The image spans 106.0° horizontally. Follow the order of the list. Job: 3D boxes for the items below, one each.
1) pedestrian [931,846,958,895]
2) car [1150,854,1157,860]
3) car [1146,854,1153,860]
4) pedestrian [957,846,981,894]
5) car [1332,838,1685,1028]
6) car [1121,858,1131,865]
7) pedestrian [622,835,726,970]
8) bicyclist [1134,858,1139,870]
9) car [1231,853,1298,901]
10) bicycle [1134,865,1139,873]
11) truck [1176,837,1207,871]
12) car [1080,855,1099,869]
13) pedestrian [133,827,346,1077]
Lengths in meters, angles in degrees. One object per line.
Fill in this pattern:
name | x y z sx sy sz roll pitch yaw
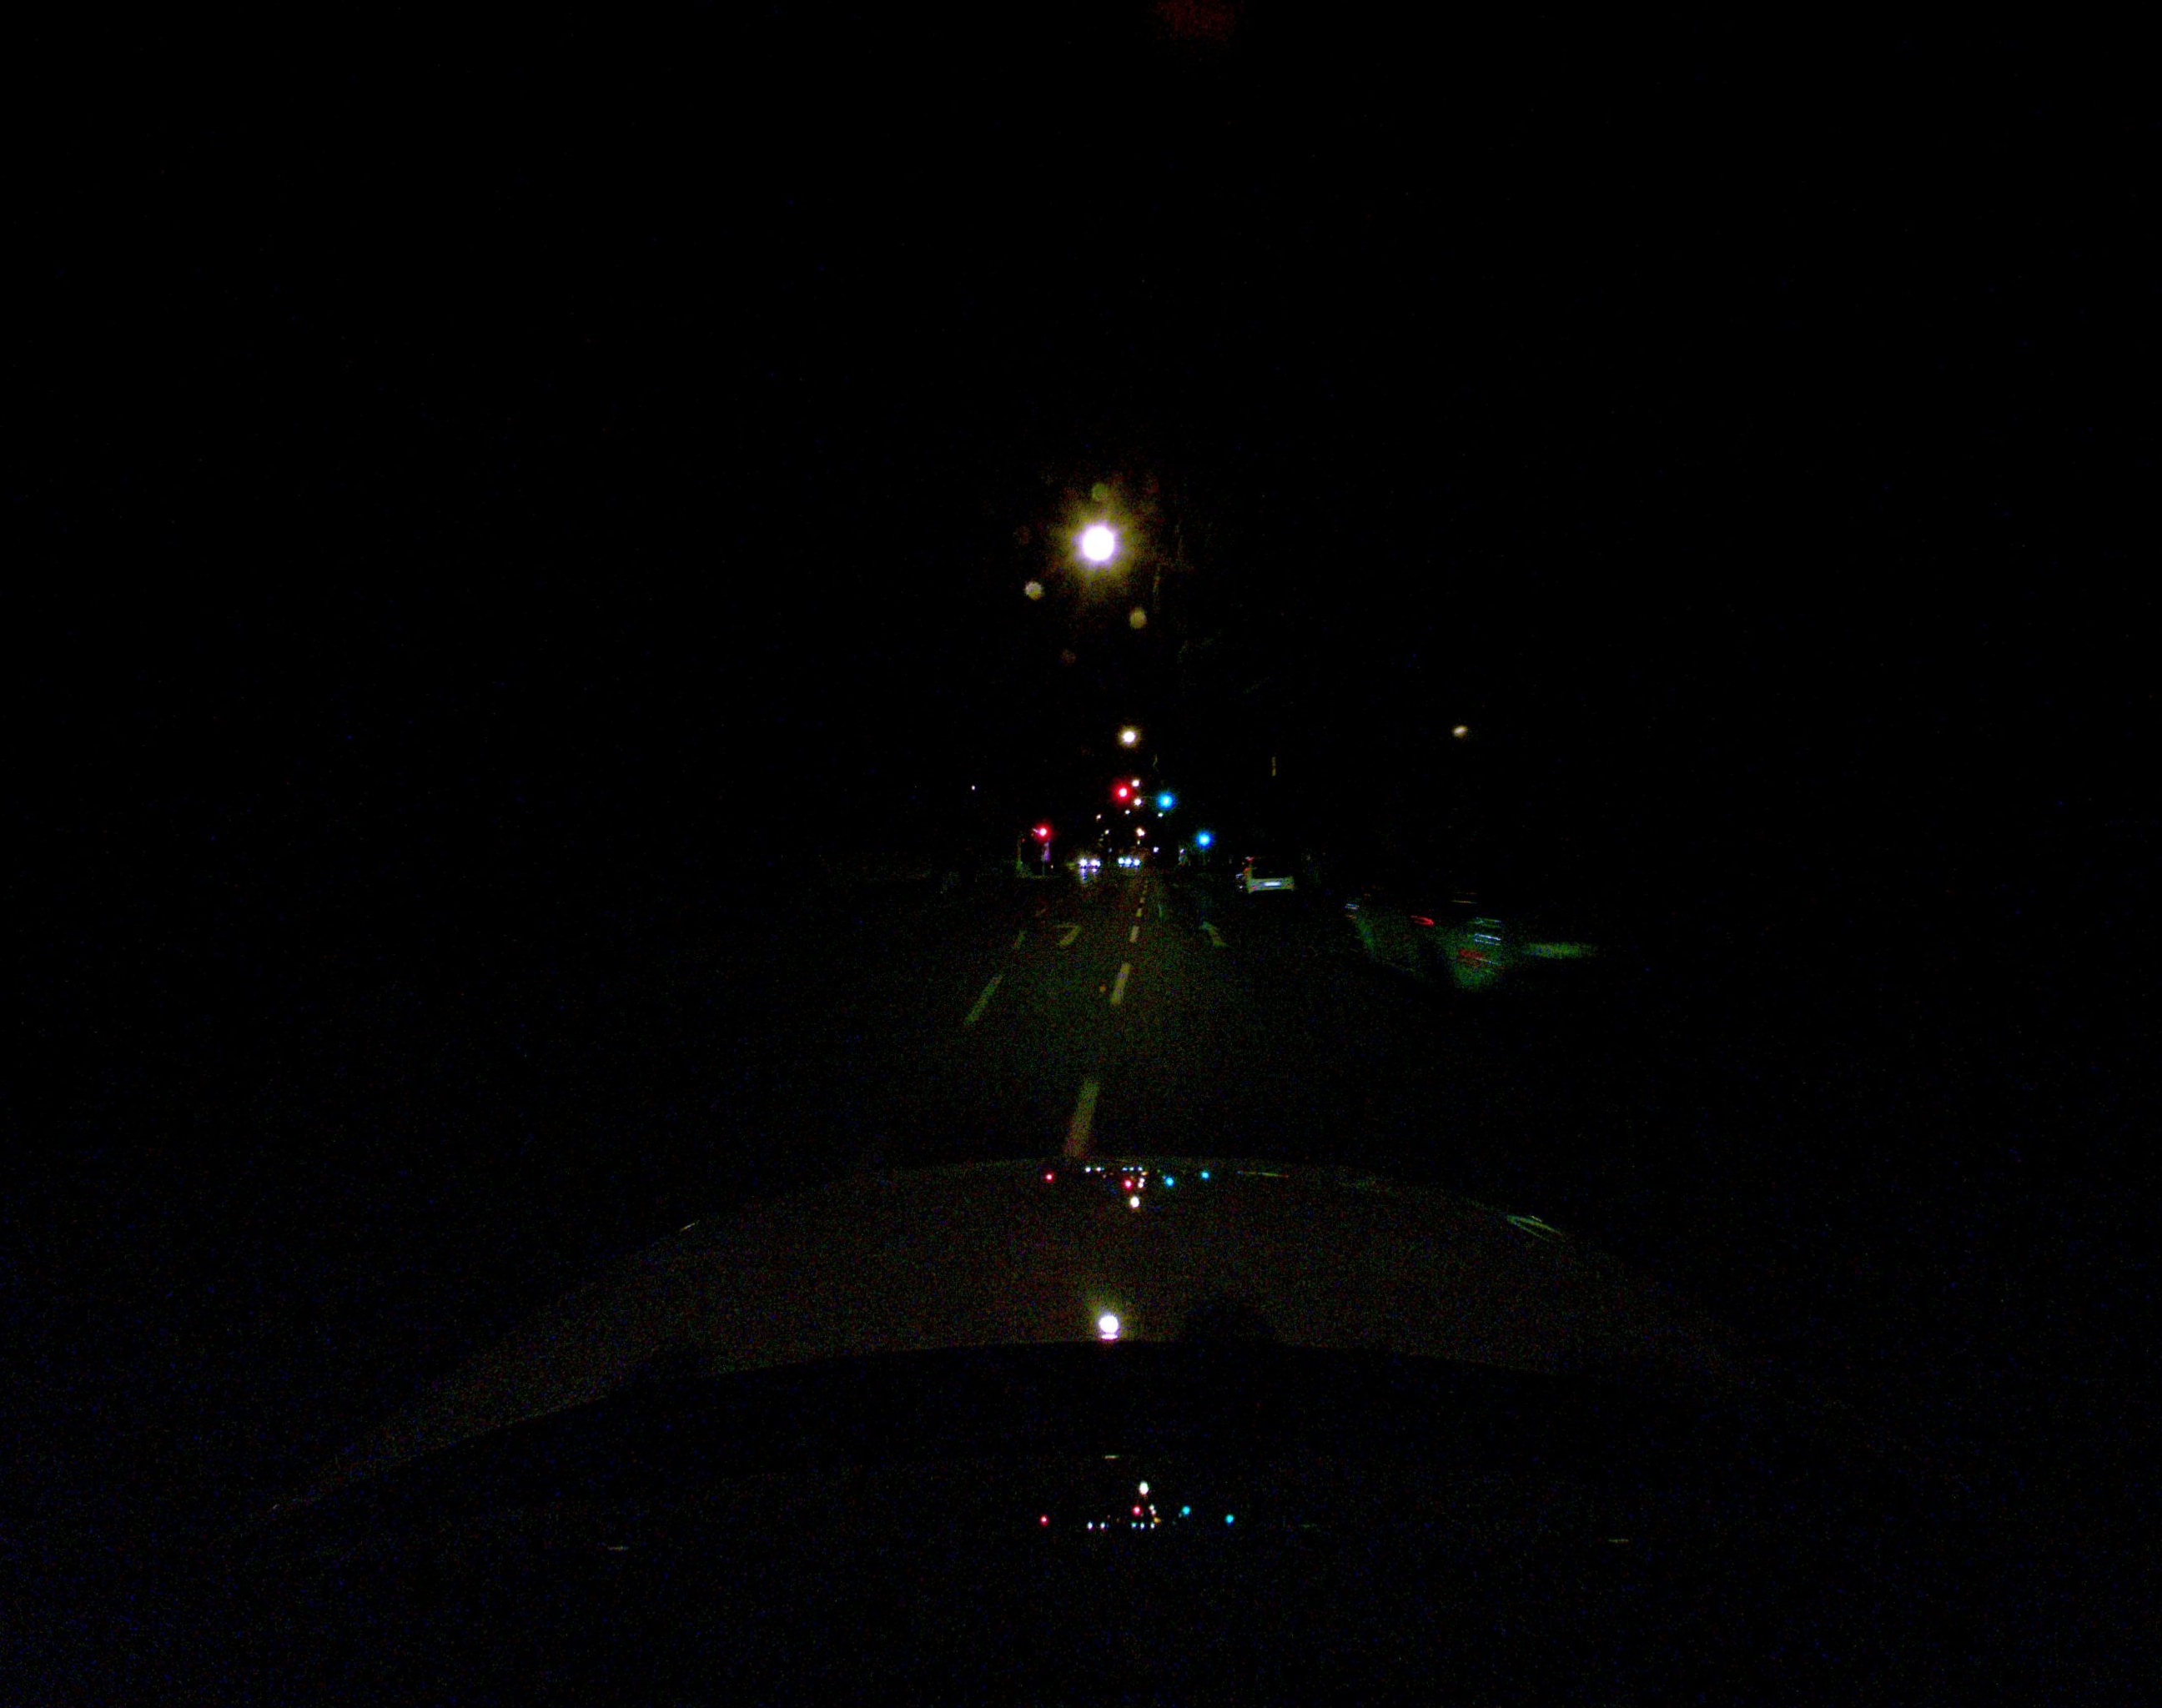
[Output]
pedestrian | -4.954 0.592 29.557 0.739 1.745 1.104 0 -1 3
car | 16.697 0.672 188.417 1.626 1.452 3.489 0 0 5
car | 17.140 0.763 204.490 1.626 1.452 3.489 0 0 5
pedestrian | -4.130 0.600 30.057 0.672 1.745 1.030 0 -1 3
car | 4.266 0.689 8.979 1.852 1.553 4.048 -2 0 2
car | 8.364 1.375 150.899 1.908 1.388 4.587 0 0 4
pedestrian | -5.286 0.612 10.655 0.739 1.672 1.104 0 -1 3
bicyclist | 8.007 1.466 116.639 0.687 1.637 0.897 0 -1 4
car | 6.277 0.756 28.146 1.660 1.484 3.607 -2 0 4
bicycle | 7.987 2.124 116.552 0.693 1.149 1.953 0 -1 5
truck | 10.760 0.015 79.581 2.736 3.110 6.267 0 0 5
car | 1.016 0.929 92.730 1.849 1.534 4.032 0 0 4
pedestrian | -6.206 0.677 6.062 0.666 1.726 0.867 0 0 1
